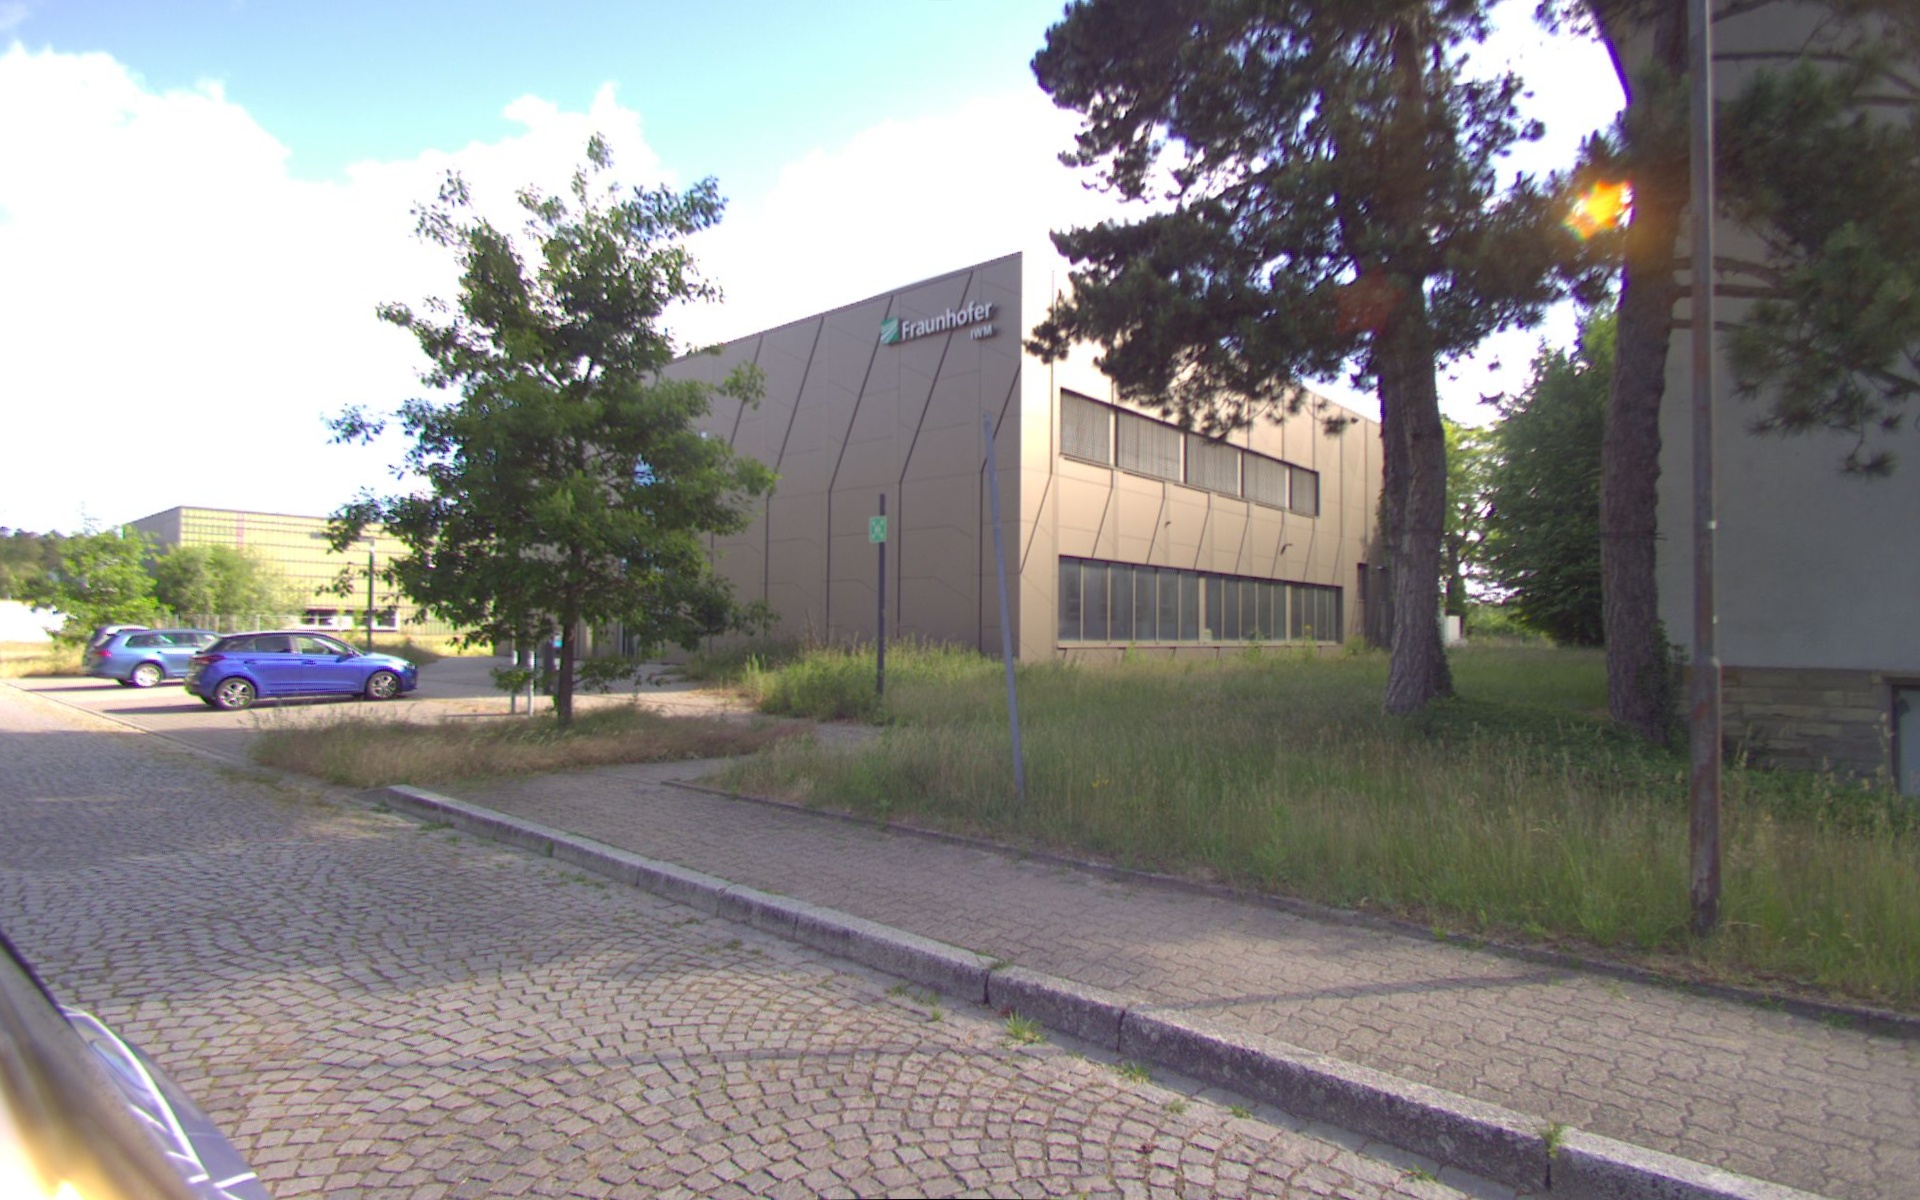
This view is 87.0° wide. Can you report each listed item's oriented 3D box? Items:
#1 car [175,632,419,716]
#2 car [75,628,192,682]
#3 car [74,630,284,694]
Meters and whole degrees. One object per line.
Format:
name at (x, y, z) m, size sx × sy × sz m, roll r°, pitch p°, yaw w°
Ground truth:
car at (-13.388, 1.421, 20.581) m, size 1.735 × 1.479 × 3.865 m, roll -2°, pitch -2°, yaw 43°
car at (-25.945, 1.682, 31.799) m, size 1.480 × 1.580 × 2.619 m, roll -2°, pitch -2°, yaw 40°
car at (-20.558, 1.578, 26.775) m, size 1.733 × 1.485 × 4.127 m, roll -1°, pitch -1°, yaw 39°
